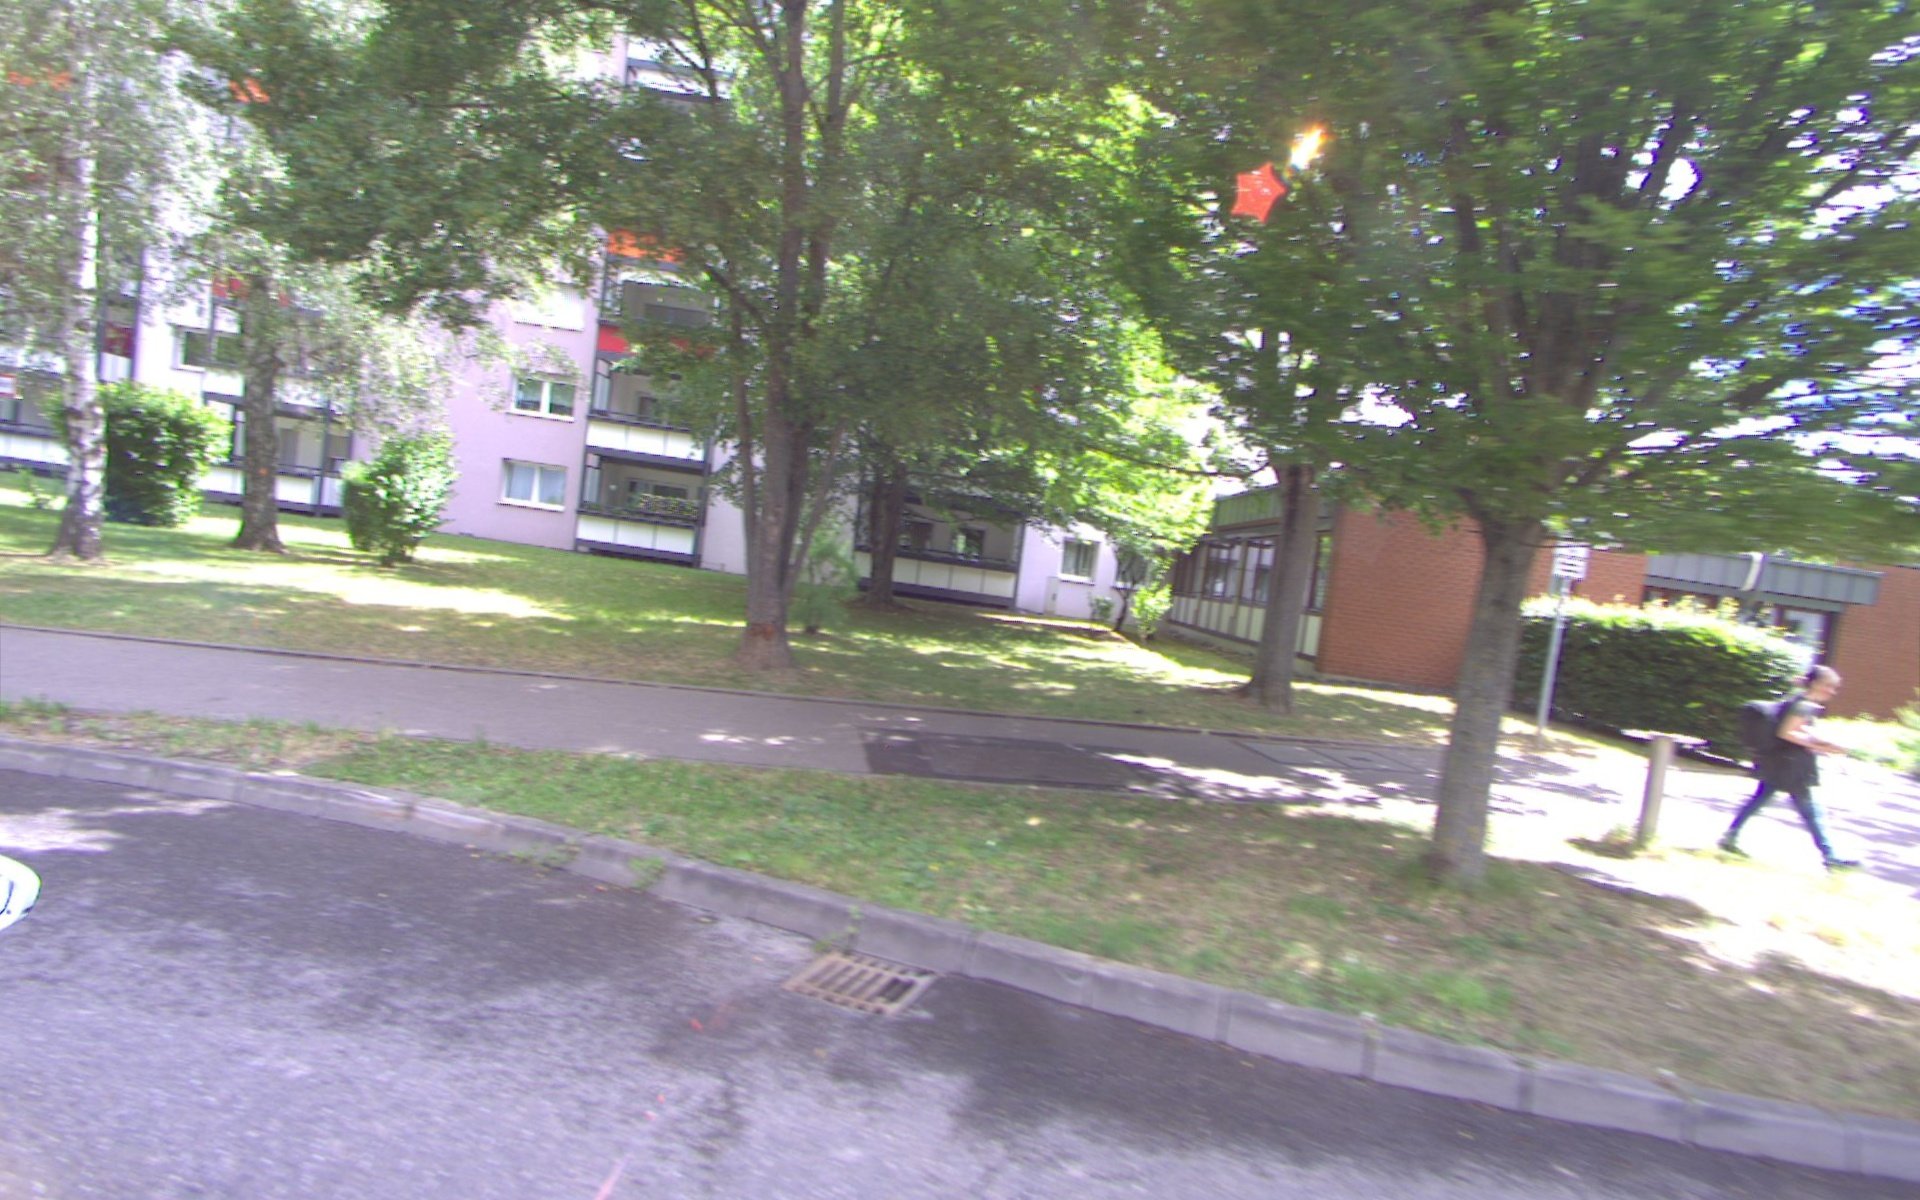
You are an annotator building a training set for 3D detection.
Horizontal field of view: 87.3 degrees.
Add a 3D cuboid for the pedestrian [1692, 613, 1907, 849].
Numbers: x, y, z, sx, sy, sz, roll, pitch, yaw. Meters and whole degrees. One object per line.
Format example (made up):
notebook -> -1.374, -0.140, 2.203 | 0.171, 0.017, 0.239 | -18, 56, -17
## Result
pedestrian -> 6.150, 0.940, 7.411 | 0.826, 1.601, 0.719 | 4, 3, -11
